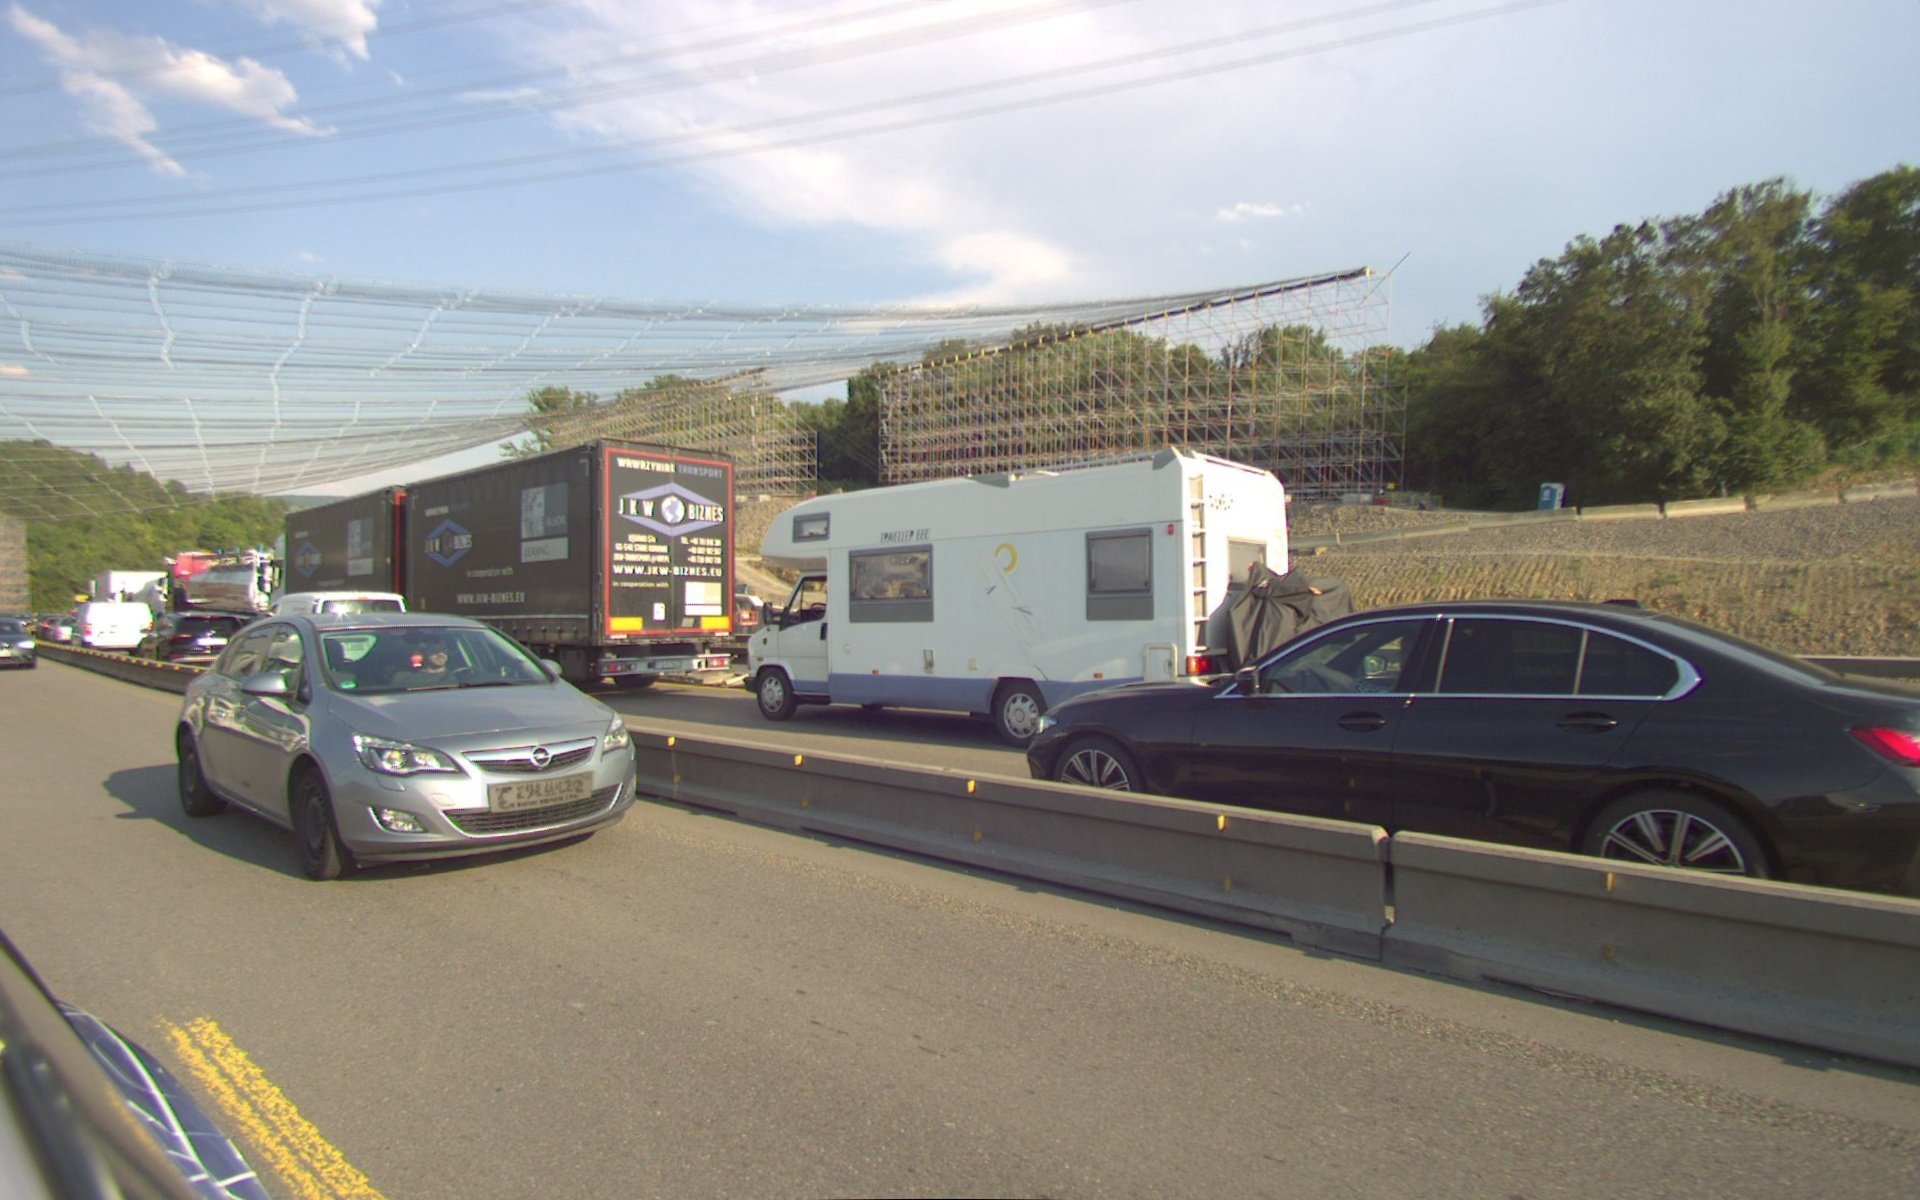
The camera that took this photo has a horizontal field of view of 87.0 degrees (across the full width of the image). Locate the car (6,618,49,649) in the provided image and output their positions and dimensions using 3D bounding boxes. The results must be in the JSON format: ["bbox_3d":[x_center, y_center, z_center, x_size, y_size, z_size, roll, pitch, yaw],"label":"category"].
[{"bbox_3d":[-49.380,1.737,53.578,3.589,1.540,1.489,-1,-1,45],"label":"car"}]

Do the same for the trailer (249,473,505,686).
[{"bbox_3d":[-14.834,-0.380,25.159,10.509,4.361,2.449,-1,-1,42],"label":"trailer"}]

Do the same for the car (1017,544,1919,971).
[{"bbox_3d":[2.658,0.578,5.441,4.583,1.523,1.775,-1,-1,41],"label":"car"}]

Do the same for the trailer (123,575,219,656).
[{"bbox_3d":[-37.168,0.719,47.482,2.280,3.387,12.061,0,-1,-44],"label":"trailer"}]

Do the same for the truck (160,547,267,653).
[{"bbox_3d":[-29.094,0.033,39.363,5.618,3.813,2.405,-1,-1,43],"label":"truck"}]

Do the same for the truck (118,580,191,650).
[{"bbox_3d":[-41.393,0.758,51.971,2.386,3.395,5.621,0,-1,-44],"label":"truck"}]

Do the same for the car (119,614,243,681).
[{"bbox_3d":[-19.221,1.103,24.888,4.602,1.490,1.662,-1,-1,43],"label":"car"}]

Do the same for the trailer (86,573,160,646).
[{"bbox_3d":[-51.151,0.586,61.672,2.399,3.993,14.109,0,-1,-44],"label":"trailer"}]

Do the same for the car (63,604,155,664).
[{"bbox_3d":[-29.522,1.134,35.048,4.835,1.940,1.797,-1,-1,42],"label":"car"}]

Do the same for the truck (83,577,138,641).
[{"bbox_3d":[-55.950,0.594,66.622,2.444,4.076,5.622,0,-1,-44],"label":"truck"}]

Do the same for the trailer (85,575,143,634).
[{"bbox_3d":[-63.773,0.370,76.131,2.638,4.046,13.347,0,-1,-43],"label":"trailer"}]

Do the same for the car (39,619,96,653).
[{"bbox_3d":[-41.258,1.631,46.761,4.659,1.437,1.609,-1,-1,44],"label":"car"}]

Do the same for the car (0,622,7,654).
[{"bbox_3d":[-44.438,1.695,45.840,3.823,1.394,1.653,-1,-1,44],"label":"car"}]

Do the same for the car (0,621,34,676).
[{"bbox_3d":[-26.654,1.303,27.672,3.824,1.394,1.740,-1,-1,44],"label":"car"}]

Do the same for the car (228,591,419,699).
[{"bbox_3d":[-11.430,0.728,18.043,4.452,1.708,1.738,-1,-1,42],"label":"car"}]

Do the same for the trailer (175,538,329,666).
[{"bbox_3d":[-24.908,0.115,35.233,12.058,3.819,2.281,-1,-1,45],"label":"trailer"}]

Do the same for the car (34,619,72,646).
[{"bbox_3d":[-57.820,2.054,64.500,1.730,1.599,3.946,0,-1,-43],"label":"car"}]

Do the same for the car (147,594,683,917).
[{"bbox_3d":[-3.838,0.735,6.755,4.350,1.484,1.737,-1,-1,41],"label":"car"}]

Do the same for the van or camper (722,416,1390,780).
[{"bbox_3d":[0.560,0.016,11.492,7.614,2.913,2.383,-1,-1,41],"label":"van or camper"}]

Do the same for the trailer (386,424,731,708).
[{"bbox_3d":[-7.786,-0.464,18.788,8.541,4.220,2.417,-1,-1,42],"label":"trailer"}]
